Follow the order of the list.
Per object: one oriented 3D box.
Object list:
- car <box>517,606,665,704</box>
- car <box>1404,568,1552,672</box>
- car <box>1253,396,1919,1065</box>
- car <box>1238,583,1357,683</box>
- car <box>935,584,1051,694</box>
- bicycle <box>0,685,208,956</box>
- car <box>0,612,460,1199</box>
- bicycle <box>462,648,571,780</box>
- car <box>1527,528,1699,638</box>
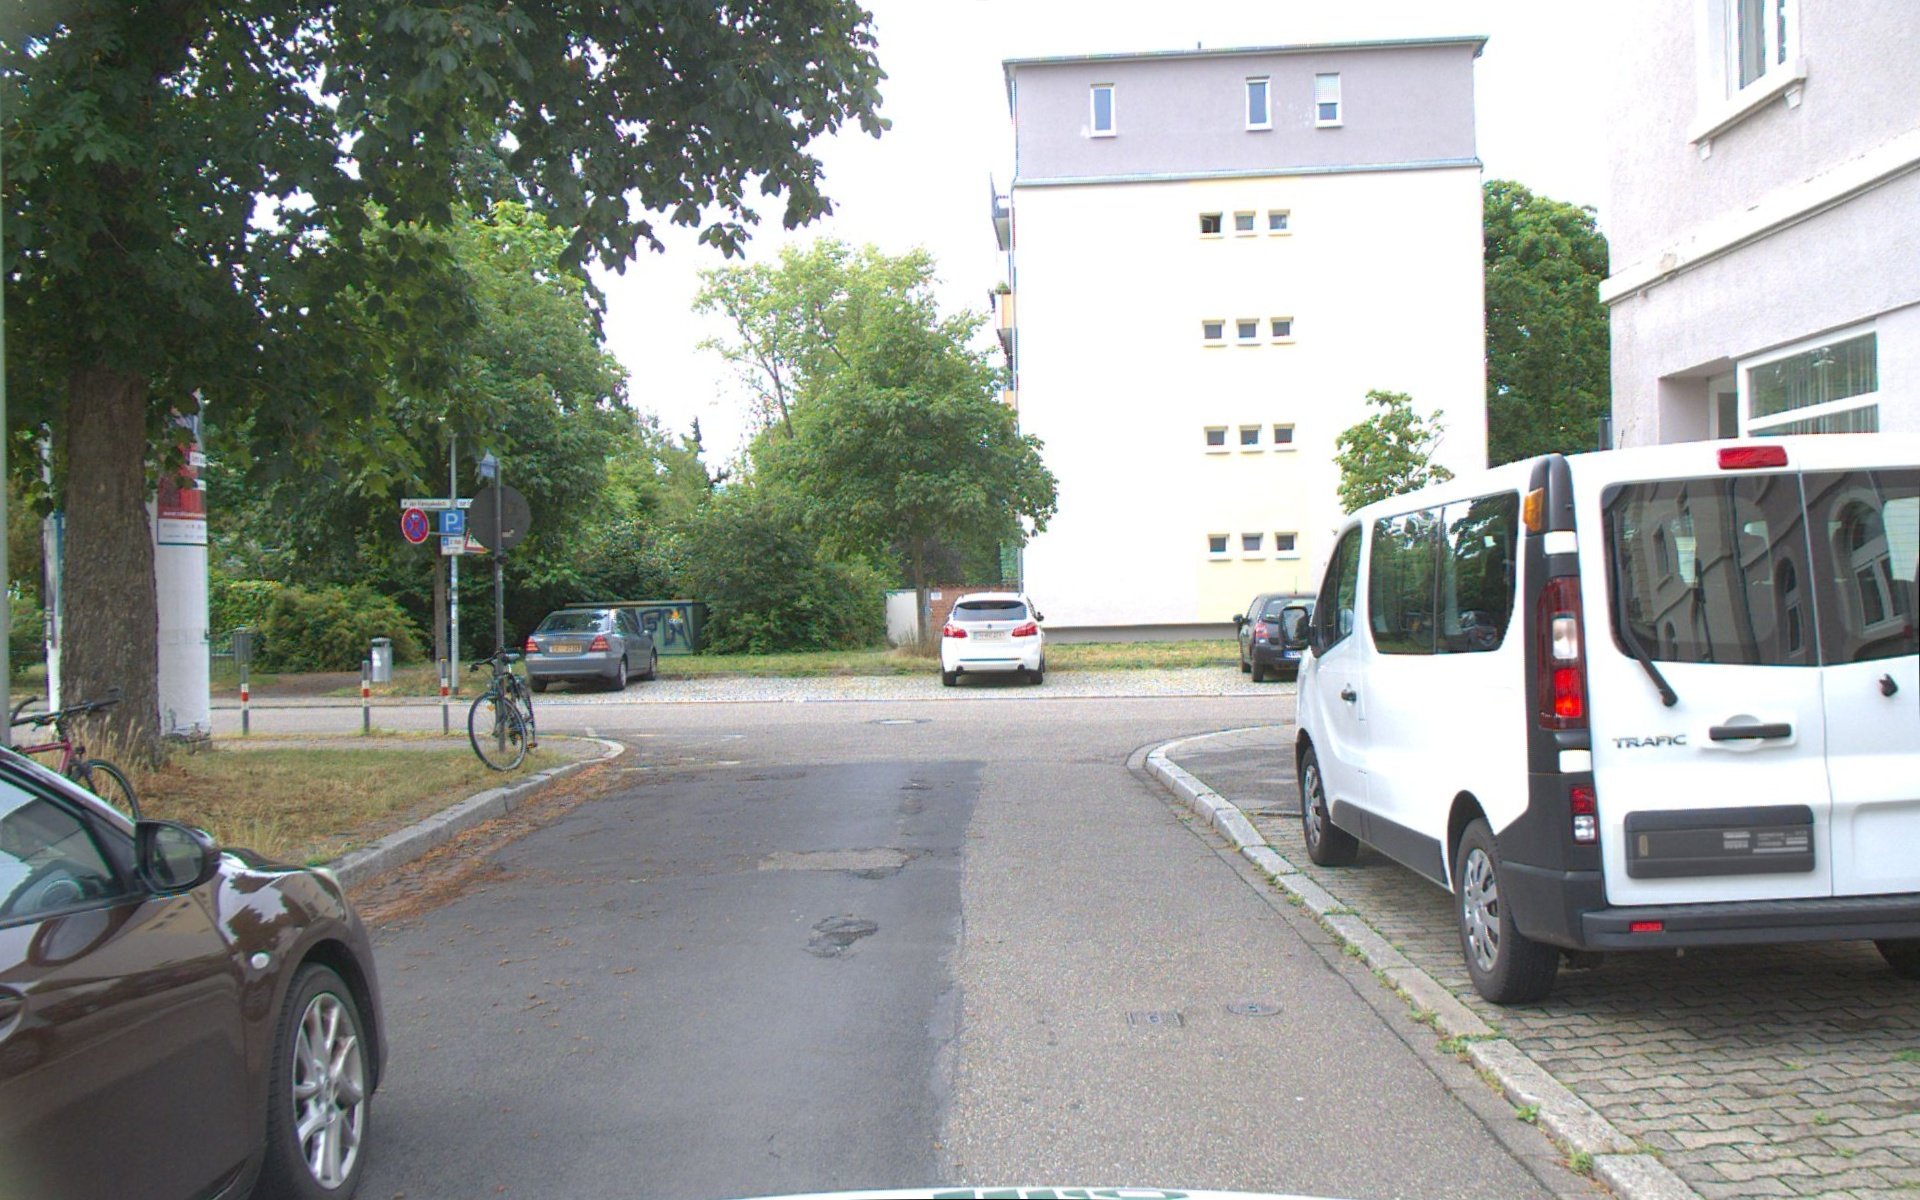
[{"bbox_3d":[-6.717,0.953,30.576,1.640,1.479,4.561,-2,2,0],"label":"car"},{"bbox_3d":[9.067,0.287,29.290,1.796,1.593,4.361,-2,2,8],"label":"car"},{"bbox_3d":[2.793,0.349,7.696,1.840,2.030,5.012,-3,1,0],"label":"car"},{"bbox_3d":[5.976,0.530,29.694,1.796,1.489,4.565,-2,2,8],"label":"car"},{"bbox_3d":[0.673,0.639,30.021,1.839,1.587,4.153,-1,4,5],"label":"car"},{"bbox_3d":[-4.569,1.040,8.299,0.652,1.085,1.886,-2,1,2],"label":"bicycle"},{"bbox_3d":[-2.399,0.908,2.852,1.677,1.482,4.162,-7,1,0],"label":"car"},{"bbox_3d":[-3.963,0.987,14.926,0.500,1.002,2.181,0,1,-3],"label":"bicycle"},{"bbox_3d":[11.336,-0.337,28.979,1.869,1.727,4.073,-2,2,8],"label":"car"}]
